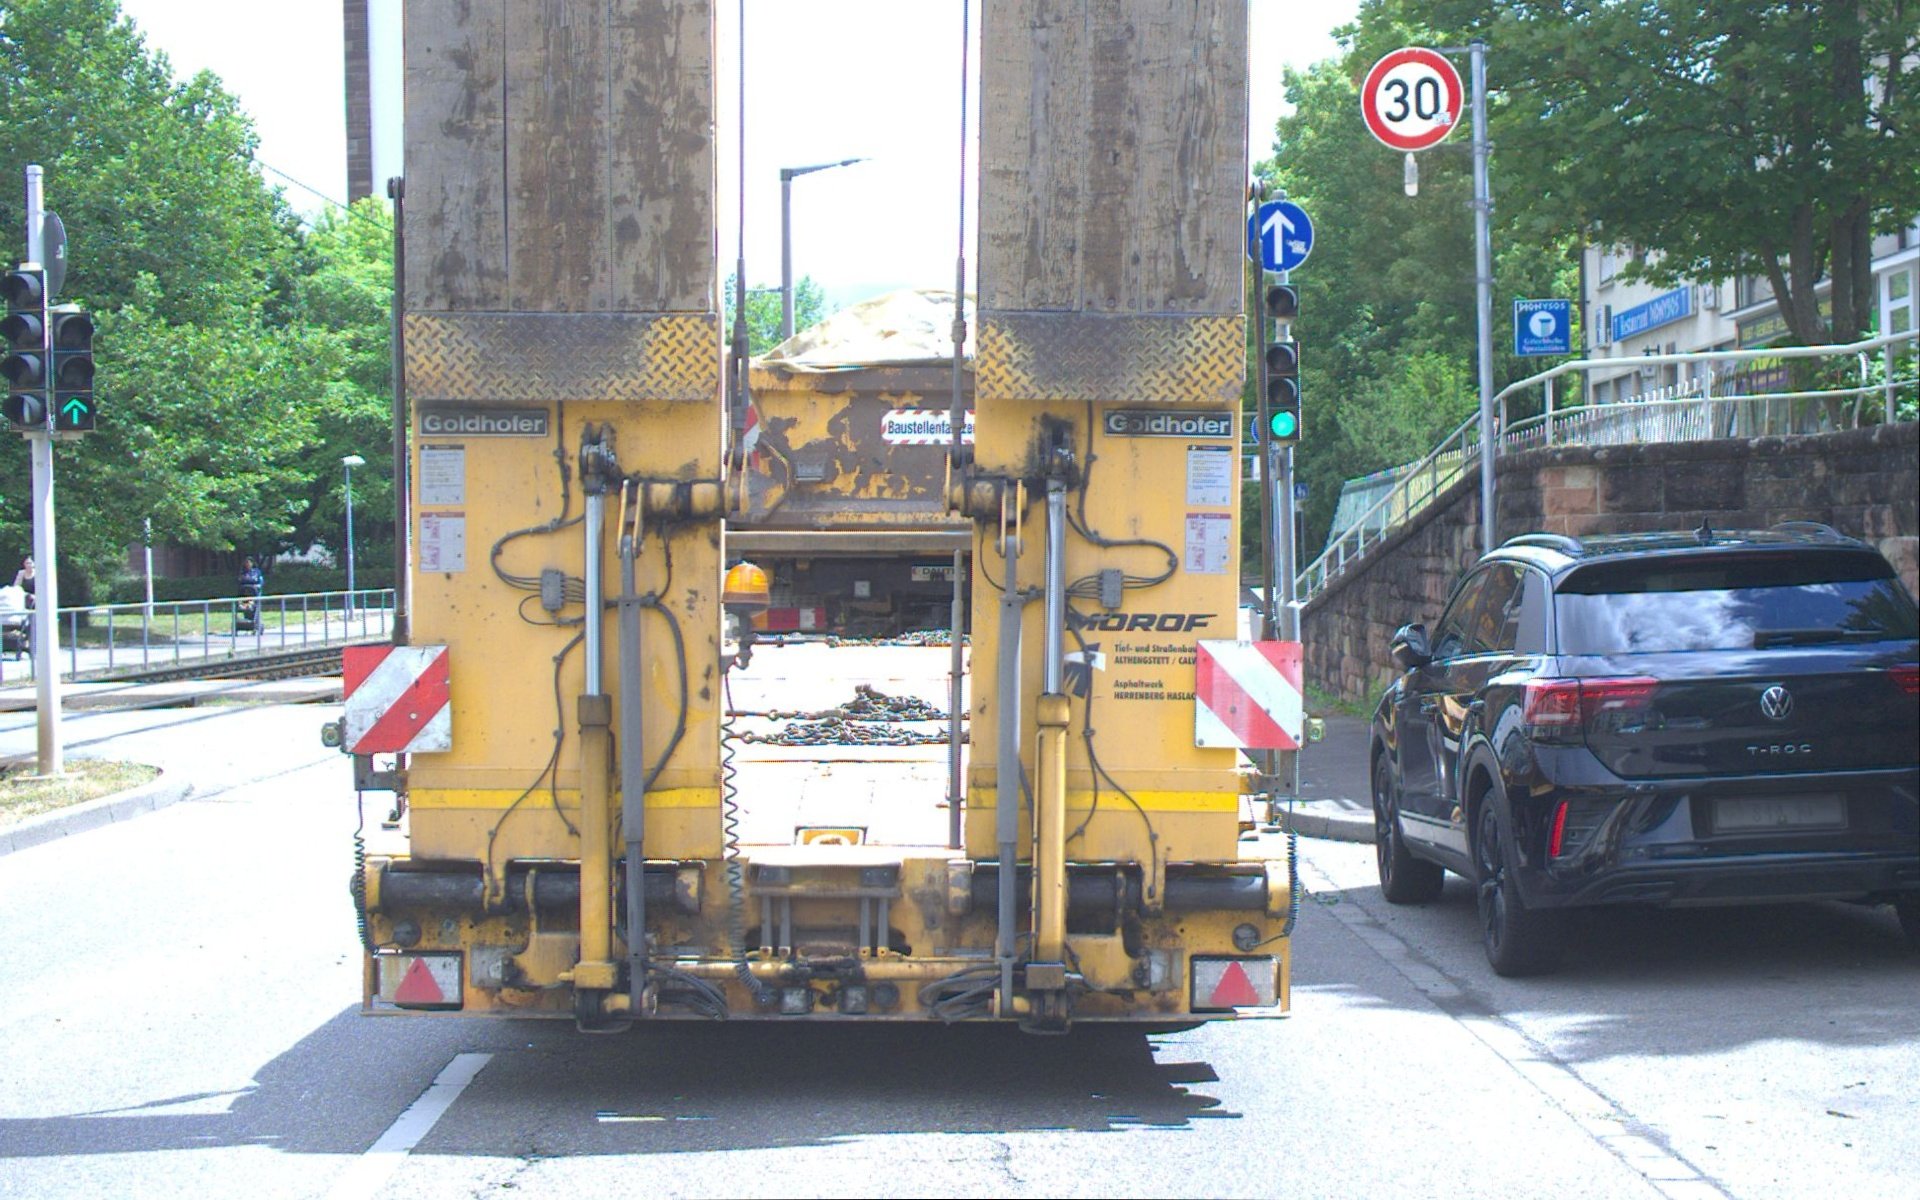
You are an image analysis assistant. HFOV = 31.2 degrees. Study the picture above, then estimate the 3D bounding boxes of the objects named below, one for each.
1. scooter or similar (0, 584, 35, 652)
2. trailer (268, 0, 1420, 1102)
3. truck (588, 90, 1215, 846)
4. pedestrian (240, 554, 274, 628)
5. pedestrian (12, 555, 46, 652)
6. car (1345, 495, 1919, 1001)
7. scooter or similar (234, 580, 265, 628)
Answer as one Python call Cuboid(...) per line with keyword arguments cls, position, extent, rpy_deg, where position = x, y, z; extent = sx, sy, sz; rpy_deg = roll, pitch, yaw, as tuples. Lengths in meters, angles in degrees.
Cuboid(cls="scooter or similar", position=(-14.860, 0.278, 54.177), extent=(0.338, 1.054, 0.687), rpy_deg=(-1, 1, 3))
Cuboid(cls="trailer", position=(-0.280, -0.578, 13.231), extent=(2.945, 3.589, 8.684), rpy_deg=(-1, 1, 0))
Cuboid(cls="truck", position=(-0.264, -0.664, 18.810), extent=(2.942, 3.560, 4.877), rpy_deg=(-1, 1, 0))
Cuboid(cls="pedestrian", position=(-14.643, -0.192, 71.618), extent=(0.563, 1.508, 0.646), rpy_deg=(1, 1, -1))
Cuboid(cls="pedestrian", position=(-14.840, 0.052, 54.804), extent=(0.348, 1.532, 0.557), rpy_deg=(-1, 1, 3))
Cuboid(cls="car", position=(2.673, 0.460, 13.452), extent=(1.851, 1.633, 4.000), rpy_deg=(-2, 1, 0))
Cuboid(cls="scooter or similar", position=(-14.666, 0.079, 70.966), extent=(0.505, 0.968, 0.646), rpy_deg=(1, 1, -1))
